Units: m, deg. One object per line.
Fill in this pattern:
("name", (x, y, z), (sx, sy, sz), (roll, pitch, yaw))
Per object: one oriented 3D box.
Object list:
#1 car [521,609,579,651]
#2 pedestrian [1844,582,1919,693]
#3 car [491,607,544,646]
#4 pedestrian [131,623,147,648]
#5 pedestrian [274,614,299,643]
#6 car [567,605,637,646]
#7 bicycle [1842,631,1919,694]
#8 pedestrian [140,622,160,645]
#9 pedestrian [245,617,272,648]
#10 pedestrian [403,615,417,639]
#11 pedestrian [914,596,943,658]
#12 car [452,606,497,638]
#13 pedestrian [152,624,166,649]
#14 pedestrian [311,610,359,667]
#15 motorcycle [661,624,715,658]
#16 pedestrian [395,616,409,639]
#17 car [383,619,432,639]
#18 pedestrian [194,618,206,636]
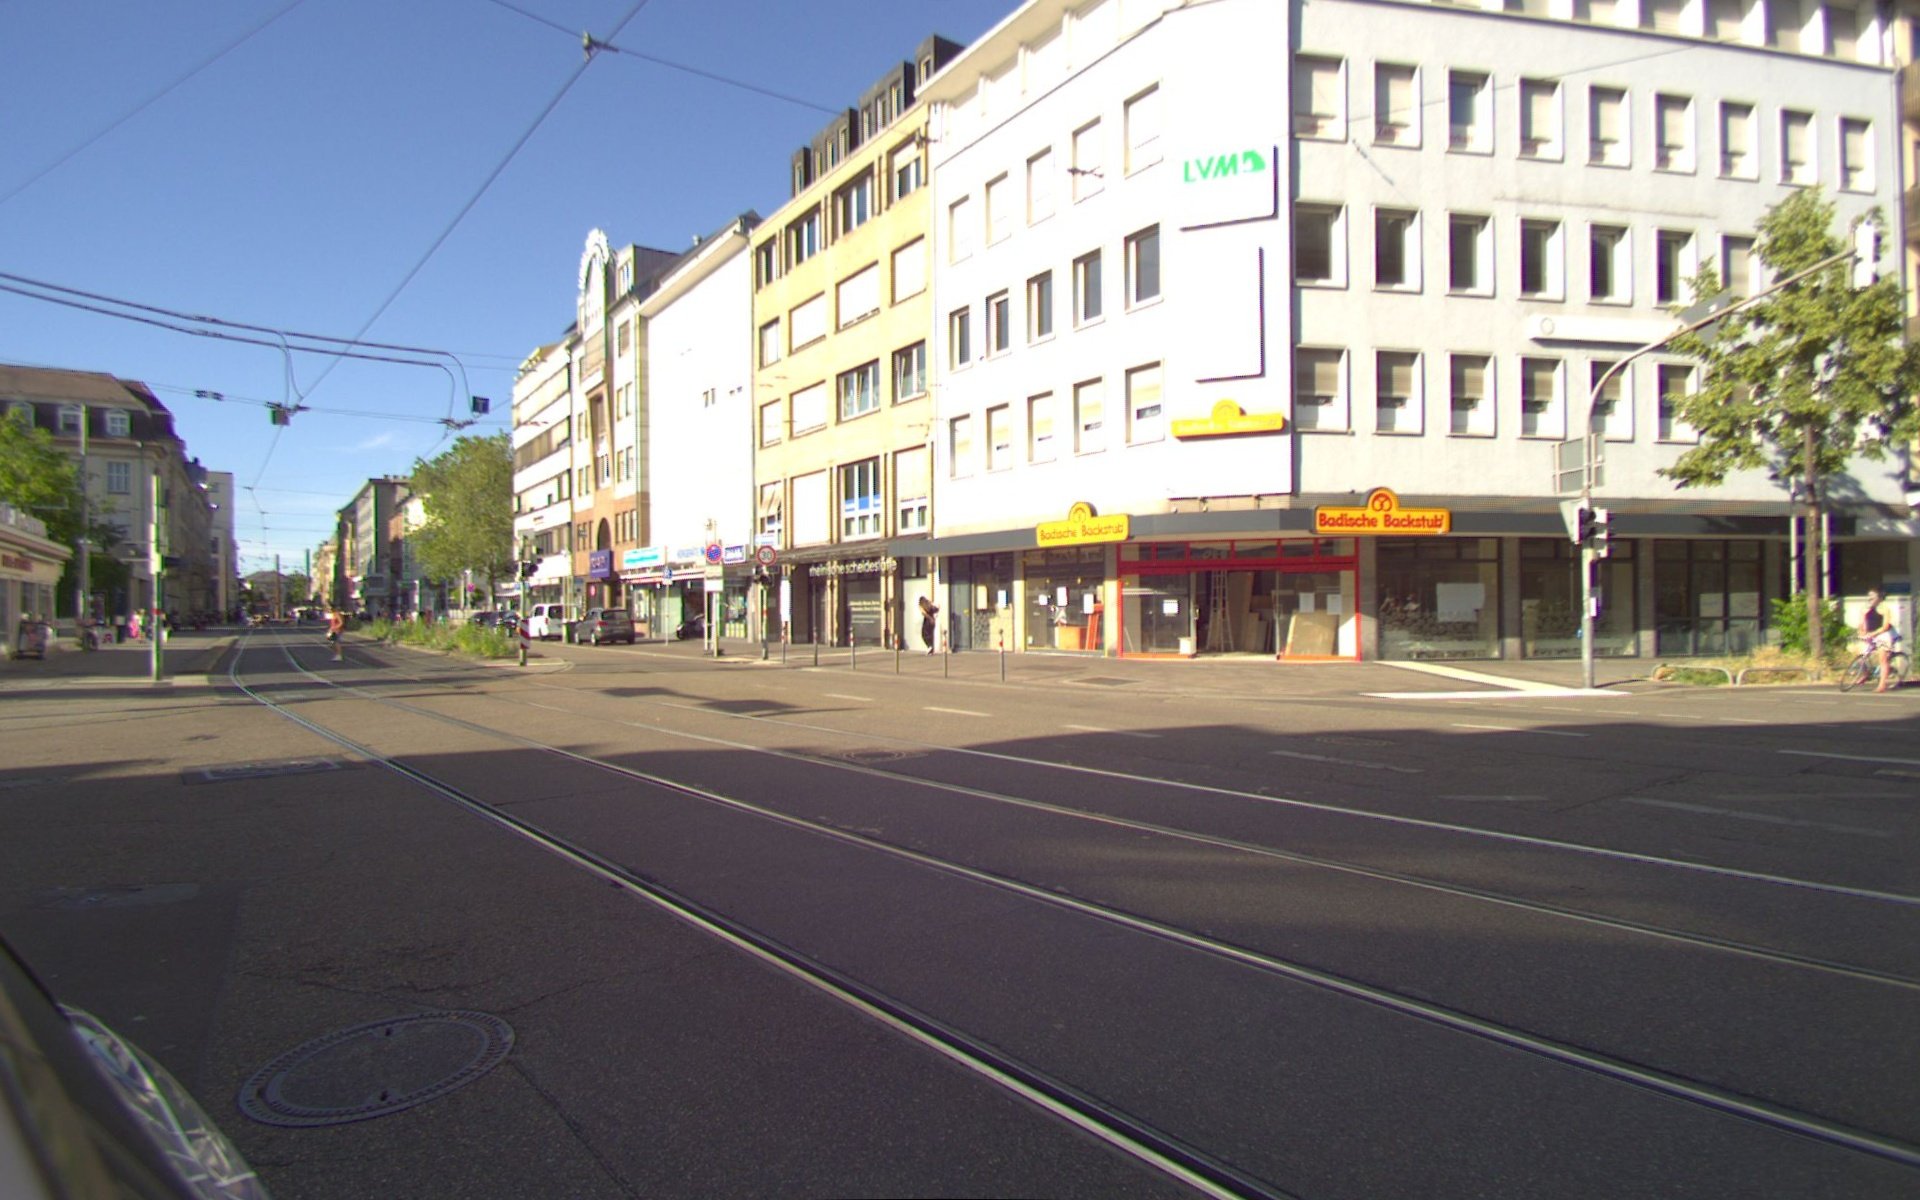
("car", (-21.101, 1.507, 51.963), (1.966, 2.029, 4.856), (-1, -1, -32))
("pedestrian", (14.911, 0.588, 16.313), (0.643, 1.725, 0.795), (-1, 0, -26))
("car", (-24.676, 1.461, 56.394), (1.967, 2.029, 4.010), (-1, -1, -35))
("pedestrian", (-41.596, 1.788, 51.290), (0.613, 1.283, 0.781), (0, -1, -39))
("pedestrian", (-64.910, 2.724, 97.544), (1.808, 2.812, 1.297), (0, -1, -26))
("car", (-16.080, 1.111, 45.352), (1.967, 1.719, 4.010), (-1, -1, -35))
("bicycle", (15.119, 1.003, 16.548), (1.430, 0.963, 0.483), (0, -1, -25))
("pedestrian", (-52.516, 2.153, 65.592), (0.931, 1.476, 0.782), (0, -1, -34))
("pedestrian", (-66.231, 3.053, 95.527), (1.918, 2.812, 1.383), (0, -1, -26))
("pedestrian", (-39.993, 1.969, 73.615), (0.573, 1.728, 0.704), (-1, -1, 8))
("pedestrian", (-0.884, 0.756, 28.396), (0.700, 1.722, 0.562), (0, -1, -14))
("car", (-31.439, 1.416, 65.469), (1.967, 2.029, 4.010), (-1, -1, -35))
("pedestrian", (-41.333, 1.892, 52.222), (0.501, 1.283, 0.721), (0, -1, -36))
("pedestrian", (-18.979, 1.153, 30.749), (0.913, 1.676, 0.936), (-1, -1, 30))
("motorcycle", (-12.688, 1.917, 47.260), (2.219, 1.516, 1.002), (0, -1, -38))
("pedestrian", (-40.614, 2.020, 73.679), (0.573, 1.637, 0.704), (-1, -1, 8))
("car", (-53.056, 2.769, 97.254), (3.933, 1.811, 2.005), (0, -1, -34))
("pedestrian", (-60.724, 2.166, 80.873), (0.680, 1.390, 0.782), (0, -1, -34))
